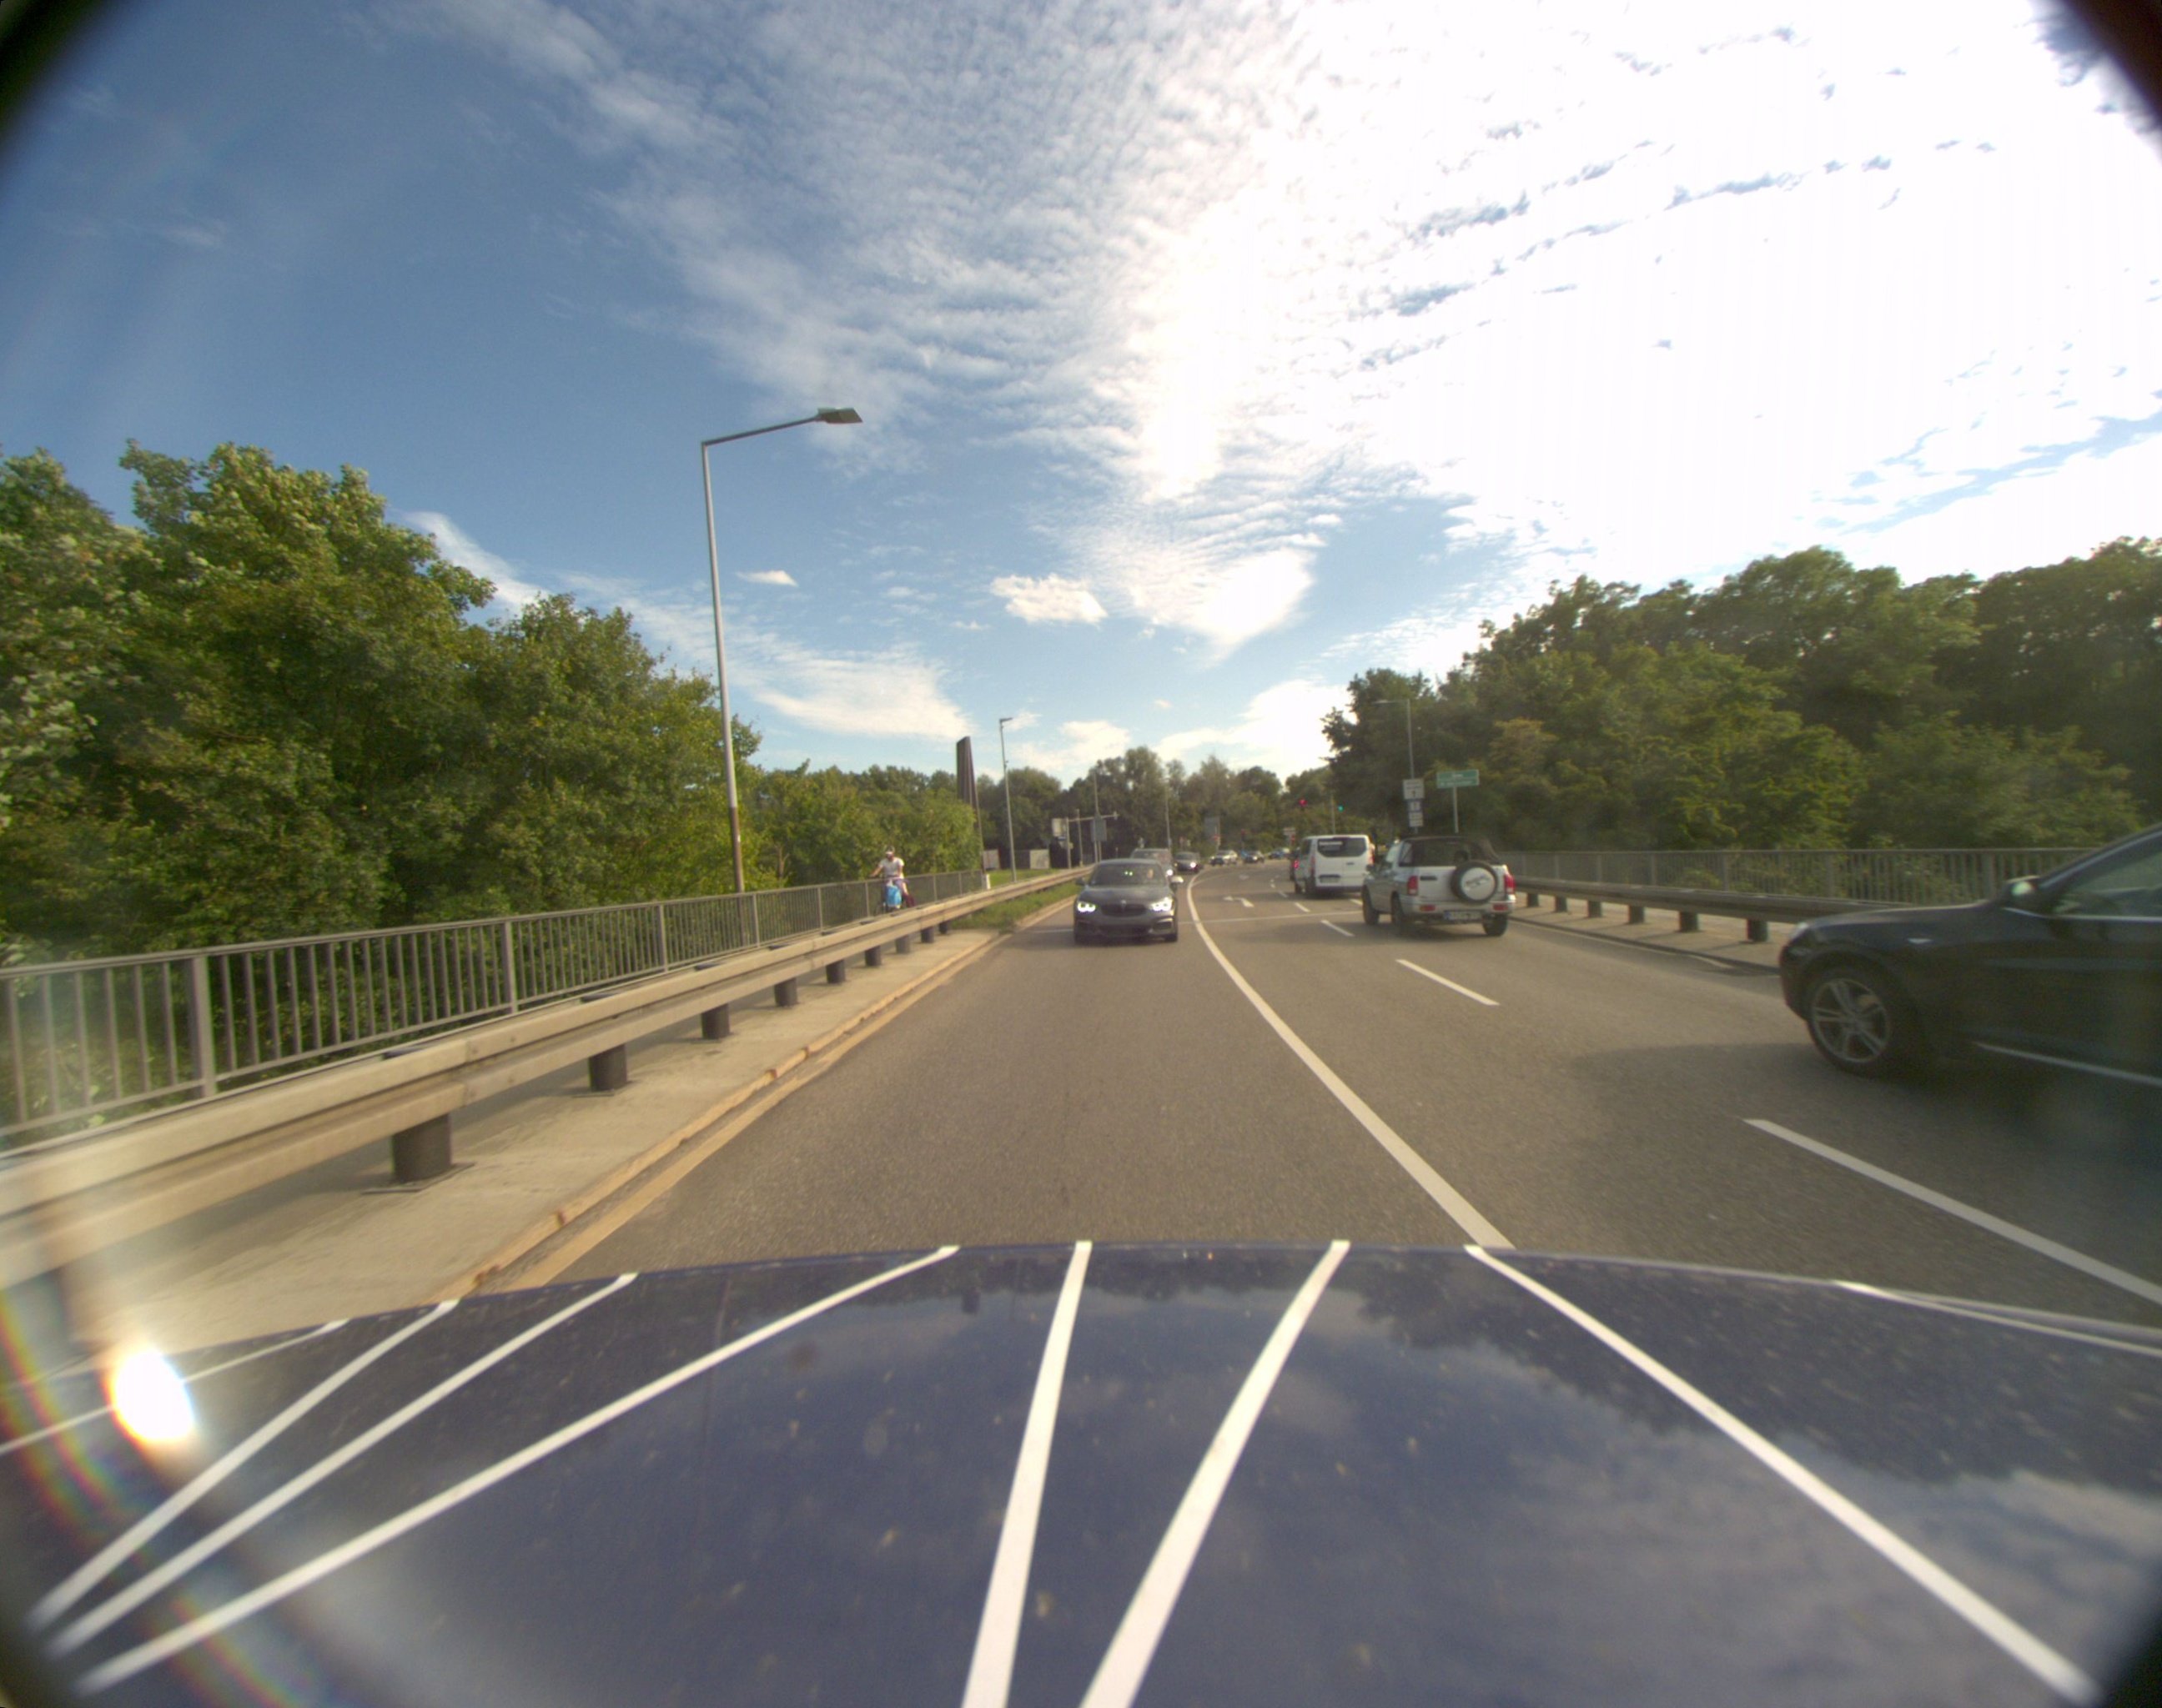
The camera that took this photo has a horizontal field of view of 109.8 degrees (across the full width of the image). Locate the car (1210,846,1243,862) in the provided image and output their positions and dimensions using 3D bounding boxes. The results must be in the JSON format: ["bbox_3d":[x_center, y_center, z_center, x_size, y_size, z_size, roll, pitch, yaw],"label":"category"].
[{"bbox_3d":[15.491,-0.003,80.641,1.994,1.591,4.289,-1,1,33],"label":"car"}]

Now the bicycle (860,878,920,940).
[{"bbox_3d":[-3.905,1.105,15.684,0.597,1.114,1.697,-2,1,7],"label":"bicycle"}]

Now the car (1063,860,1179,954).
[{"bbox_3d":[0.884,0.865,14.016,1.785,1.396,3.973,-1,0,8],"label":"car"}]

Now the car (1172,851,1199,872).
[{"bbox_3d":[6.997,0.475,50.639,1.689,1.315,3.786,-1,1,9],"label":"car"}]

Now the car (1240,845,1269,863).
[{"bbox_3d":[20.637,-0.007,90.033,1.994,2.002,4.280,-1,1,32],"label":"car"}]

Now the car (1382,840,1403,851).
[{"bbox_3d":[55.106,-1.567,134.361,4.008,1.850,1.886,-3,1,-45],"label":"car"}]

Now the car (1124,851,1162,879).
[{"bbox_3d":[3.397,0.563,40.958,1.817,1.396,4.393,-1,0,8],"label":"car"}]

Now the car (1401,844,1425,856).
[{"bbox_3d":[42.487,-0.539,97.143,1.815,1.511,4.836,-1,1,36],"label":"car"}]

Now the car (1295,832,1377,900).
[{"bbox_3d":[8.184,0.337,24.805,1.988,1.953,5.052,-1,0,13],"label":"car"}]

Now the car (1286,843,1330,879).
[{"bbox_3d":[11.058,0.303,37.310,1.749,1.645,4.457,-1,0,13],"label":"car"}]

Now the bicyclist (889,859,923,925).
[{"bbox_3d":[-3.748,0.806,16.276,0.500,1.364,0.538,-2,1,7],"label":"bicyclist"}]

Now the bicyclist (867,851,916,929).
[{"bbox_3d":[-3.917,0.728,15.726,0.708,1.548,0.754,-2,1,7],"label":"bicyclist"}]

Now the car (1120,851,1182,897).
[{"bbox_3d":[2.676,0.667,28.022,1.817,1.498,4.394,-1,0,11],"label":"car"}]

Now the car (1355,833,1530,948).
[{"bbox_3d":[6.211,0.560,13.547,1.777,1.736,3.839,-1,0,9],"label":"car"}]

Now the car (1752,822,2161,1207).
[{"bbox_3d":[5.550,0.668,3.028,1.873,1.656,4.630,-1,0,4],"label":"car"}]
